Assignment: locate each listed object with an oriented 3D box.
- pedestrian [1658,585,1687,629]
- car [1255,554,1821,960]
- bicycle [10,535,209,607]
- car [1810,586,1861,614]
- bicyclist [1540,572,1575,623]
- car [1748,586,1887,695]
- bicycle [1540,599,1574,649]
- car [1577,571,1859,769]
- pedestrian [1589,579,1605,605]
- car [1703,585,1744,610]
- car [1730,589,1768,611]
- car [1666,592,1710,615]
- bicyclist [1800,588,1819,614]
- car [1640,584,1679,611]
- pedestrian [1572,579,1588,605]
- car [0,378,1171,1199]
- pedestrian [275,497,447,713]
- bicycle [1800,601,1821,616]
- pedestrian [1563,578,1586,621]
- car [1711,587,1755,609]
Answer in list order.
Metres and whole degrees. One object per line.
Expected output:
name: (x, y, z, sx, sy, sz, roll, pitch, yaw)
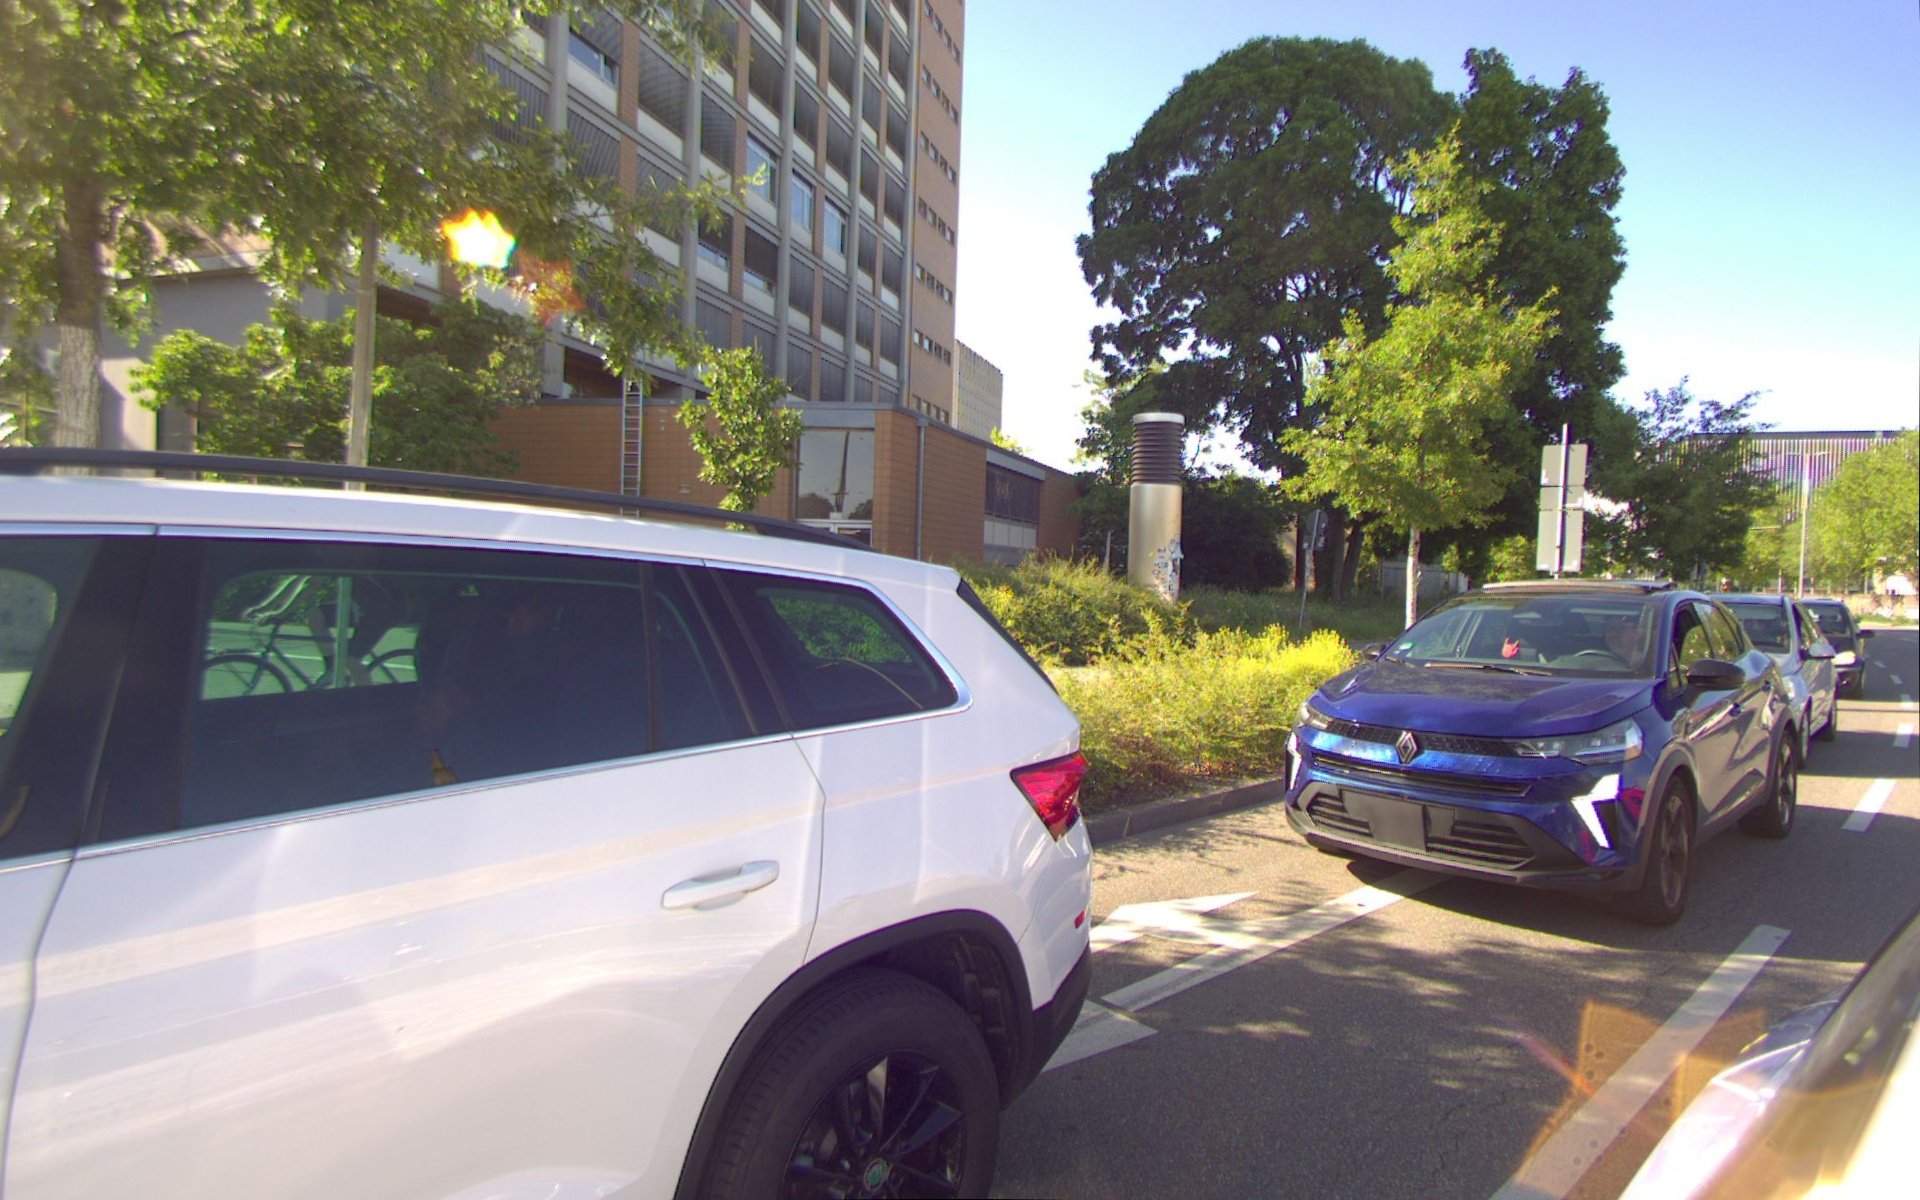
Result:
pedestrian: (26.792, 0.251, 38.067, 0.684, 1.624, 0.657, 2, 1, 20)
car: (3.626, 0.615, 6.021, 4.013, 1.626, 1.704, 0, 1, -41)
bicycle: (-17.549, -0.587, 21.015, 0.790, 1.394, 3.111, 2, 1, 26)
car: (55.593, -0.026, 64.345, 1.509, 1.700, 3.353, 1, 0, 24)
bicyclist: (15.958, -0.072, 27.013, 0.717, 1.294, 0.897, 4, 3, 31)
car: (14.790, 0.609, 17.399, 1.646, 1.631, 3.435, 3, 2, 43)
bicycle: (15.957, 0.617, 27.051, 0.687, 1.232, 1.814, 4, 3, 31)
car: (8.082, 0.581, 10.647, 3.977, 1.644, 1.782, 0, 2, -45)
pedestrian: (46.853, -0.591, 74.451, 0.811, 1.941, 0.767, 0, 0, 20)
car: (64.901, -0.260, 86.093, 1.767, 2.039, 4.201, 1, 1, 22)
car: (61.832, -0.009, 79.342, 1.578, 1.625, 3.048, 2, 1, 23)
car: (48.570, 0.207, 67.574, 1.735, 1.494, 3.543, 0, 1, 26)
bicyclist: (51.854, 0.068, 61.769, 0.688, 1.578, 0.809, 0, 0, 26)
car: (51.182, -0.176, 74.118, 1.811, 1.876, 3.717, 2, 1, 27)
pedestrian: (46.074, -0.598, 75.224, 0.811, 1.941, 0.767, 0, 0, 20)
car: (-1.631, 0.569, 1.665, 4.223, 1.662, 1.697, 0, 2, -42)
pedestrian: (-4.209, 0.016, 7.126, 0.945, 1.419, 0.517, 0, 3, -43)
bicycle: (51.879, 0.508, 61.744, 0.584, 0.900, 1.640, 0, 0, 25)
pedestrian: (23.569, -0.015, 38.828, 0.688, 1.624, 0.654, 2, 1, 32)
car: (52.503, -0.148, 68.757, 1.736, 1.396, 3.540, 1, 1, 27)
